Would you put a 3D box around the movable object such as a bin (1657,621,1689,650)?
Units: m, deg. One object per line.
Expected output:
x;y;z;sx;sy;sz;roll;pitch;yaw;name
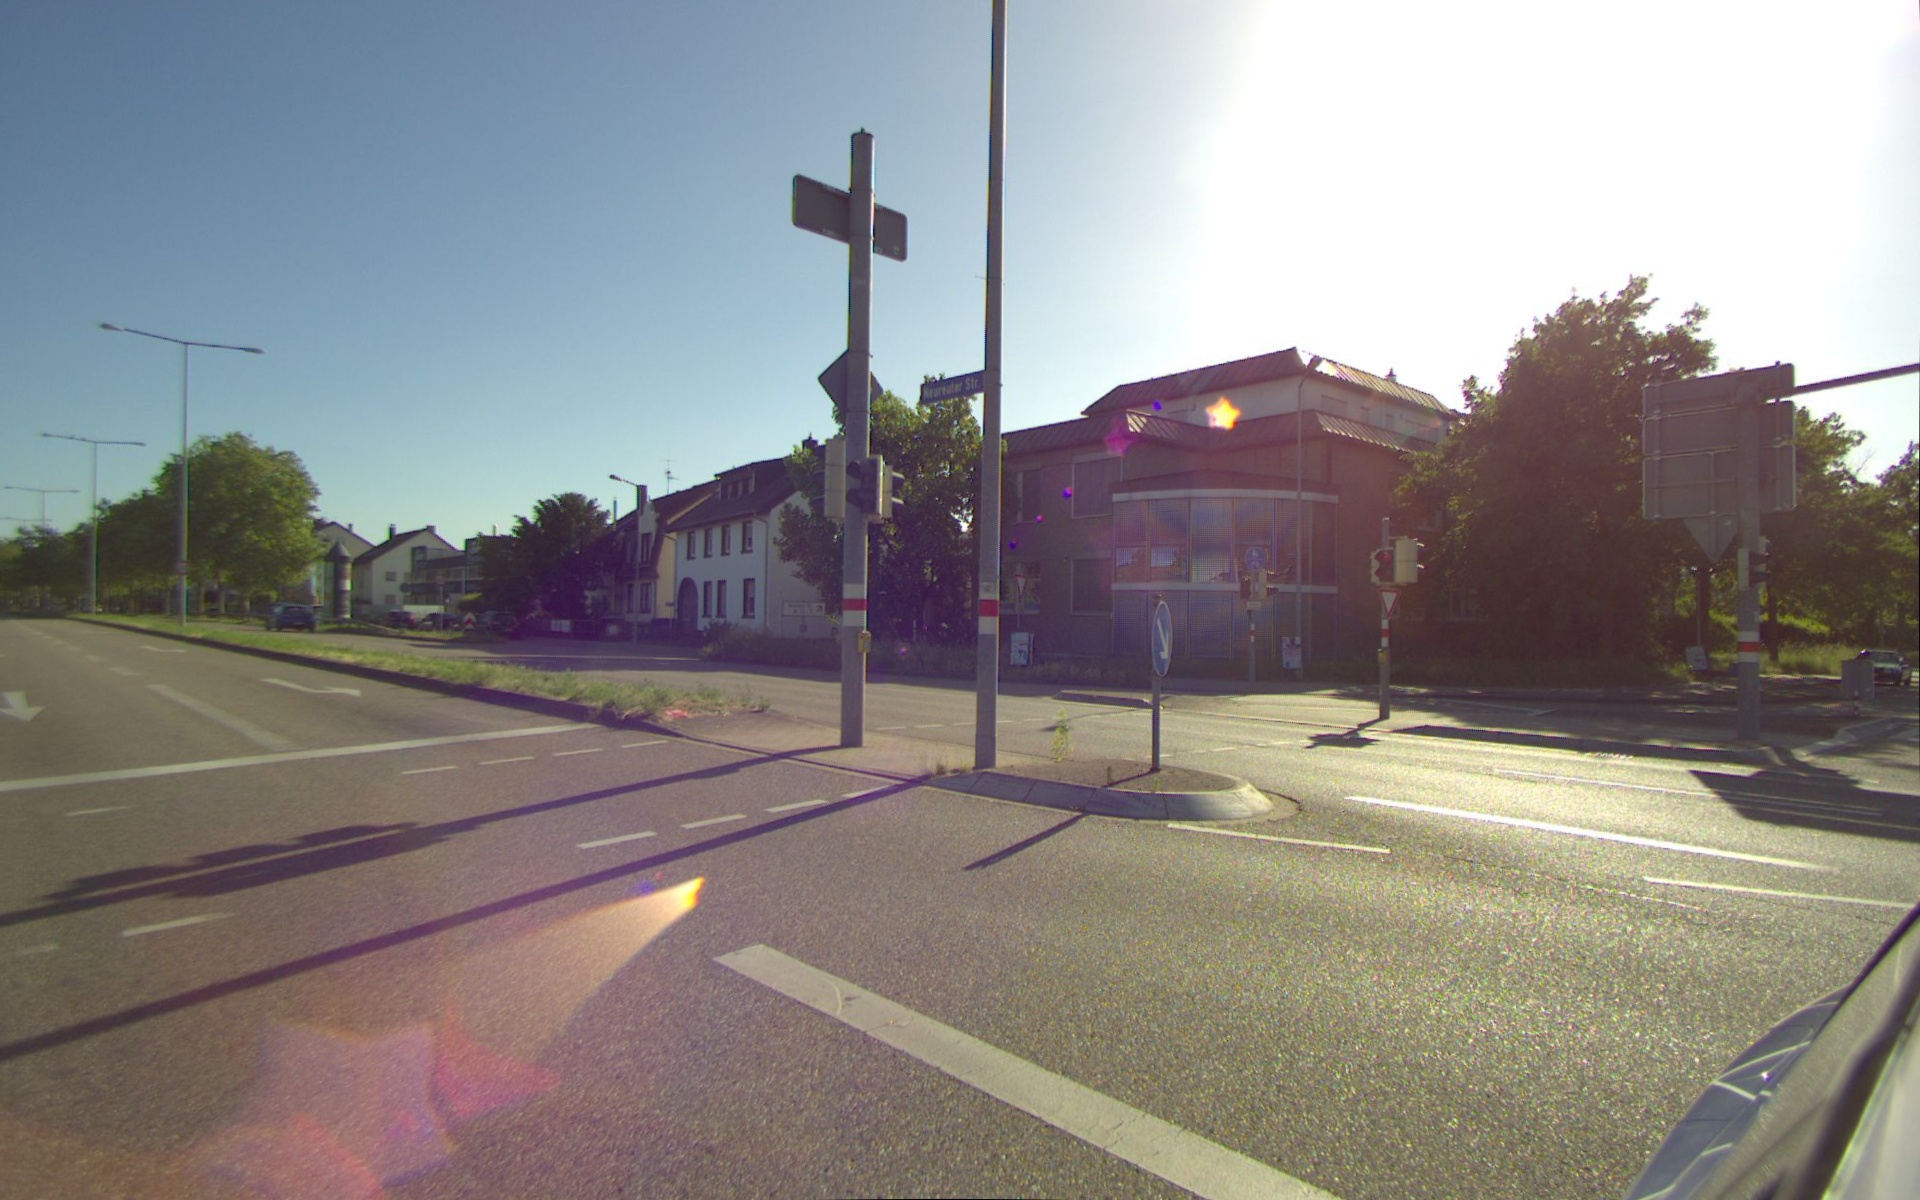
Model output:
33.728;1.671;47.892;0.782;1.339;1.089;2;-2;-39;movable object such as a bin

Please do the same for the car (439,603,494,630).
-31.636;1.094;64.817;1.967;1.617;3.988;3;-3;-44;car

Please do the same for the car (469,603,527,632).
-27.852;1.057;60.968;1.967;1.638;3.989;2;-1;-44;car

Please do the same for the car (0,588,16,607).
-118.631;-0.370;125.577;3.984;2.322;1.814;1;-1;42;car

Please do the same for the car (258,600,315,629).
-36.362;0.788;54.582;3.780;1.459;1.710;1;-2;43;car

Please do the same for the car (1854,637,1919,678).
38.122;2.312;41.316;4.139;1.505;1.776;2;0;-39;car

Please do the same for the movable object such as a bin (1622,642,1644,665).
31.123;2.451;46.807;0.682;1.055;0.687;2;-3;-39;movable object such as a bin

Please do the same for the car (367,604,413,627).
-42.150;1.153;74.858;1.967;1.612;3.988;3;-3;-44;car

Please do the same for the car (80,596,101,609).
-115.040;0.293;133.837;1.828;1.612;3.989;2;-1;-44;car

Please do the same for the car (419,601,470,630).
-34.657;1.051;68.017;1.967;1.842;3.988;3;-3;-44;car
